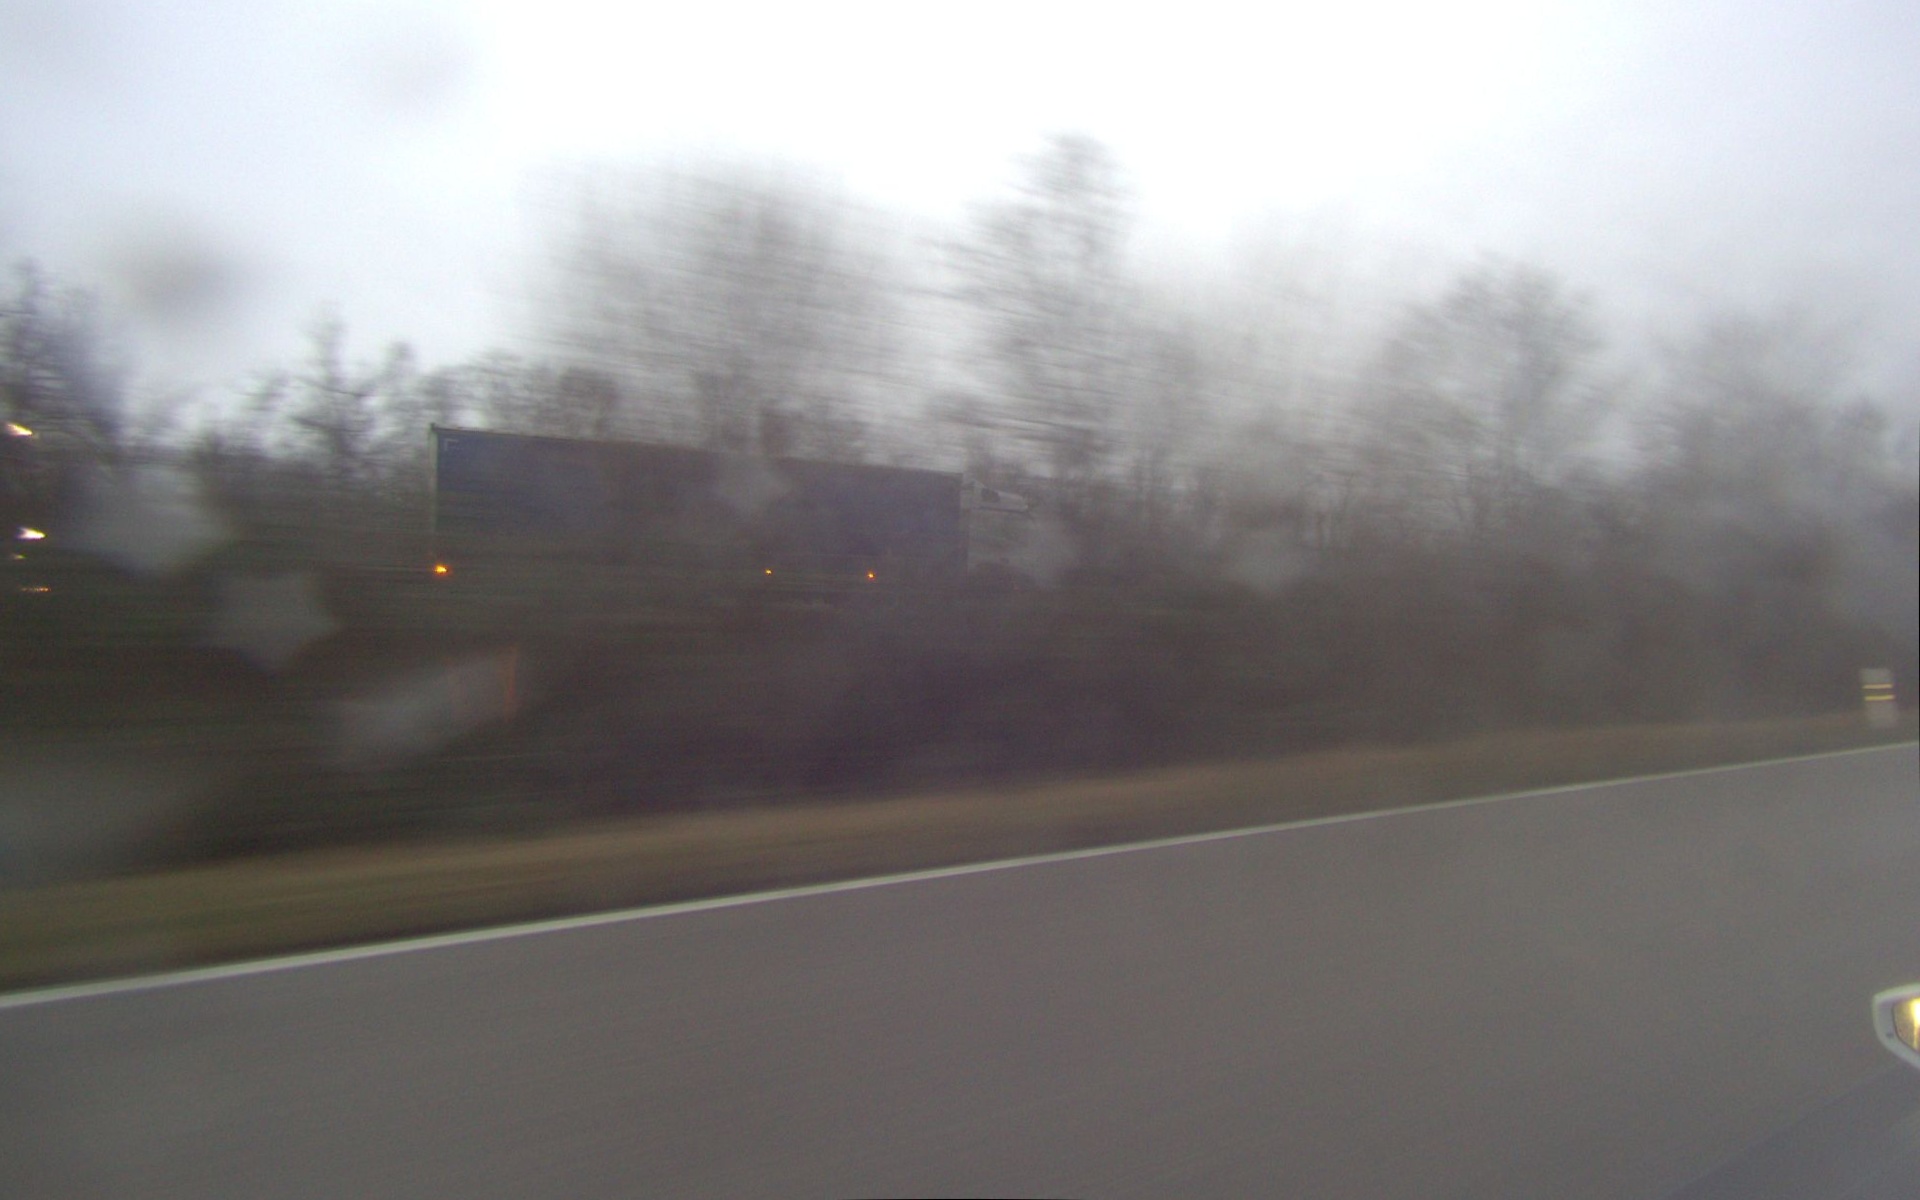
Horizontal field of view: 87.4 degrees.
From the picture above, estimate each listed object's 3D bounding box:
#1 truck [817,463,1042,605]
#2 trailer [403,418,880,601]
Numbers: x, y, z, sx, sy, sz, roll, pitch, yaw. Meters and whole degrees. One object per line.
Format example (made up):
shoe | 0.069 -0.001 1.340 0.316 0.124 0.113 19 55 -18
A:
truck | -0.872 -1.760 29.844 5.997 3.680 2.977 1 -1 -31
trailer | -7.745 -1.931 25.664 11.256 3.682 2.984 1 -1 -31
